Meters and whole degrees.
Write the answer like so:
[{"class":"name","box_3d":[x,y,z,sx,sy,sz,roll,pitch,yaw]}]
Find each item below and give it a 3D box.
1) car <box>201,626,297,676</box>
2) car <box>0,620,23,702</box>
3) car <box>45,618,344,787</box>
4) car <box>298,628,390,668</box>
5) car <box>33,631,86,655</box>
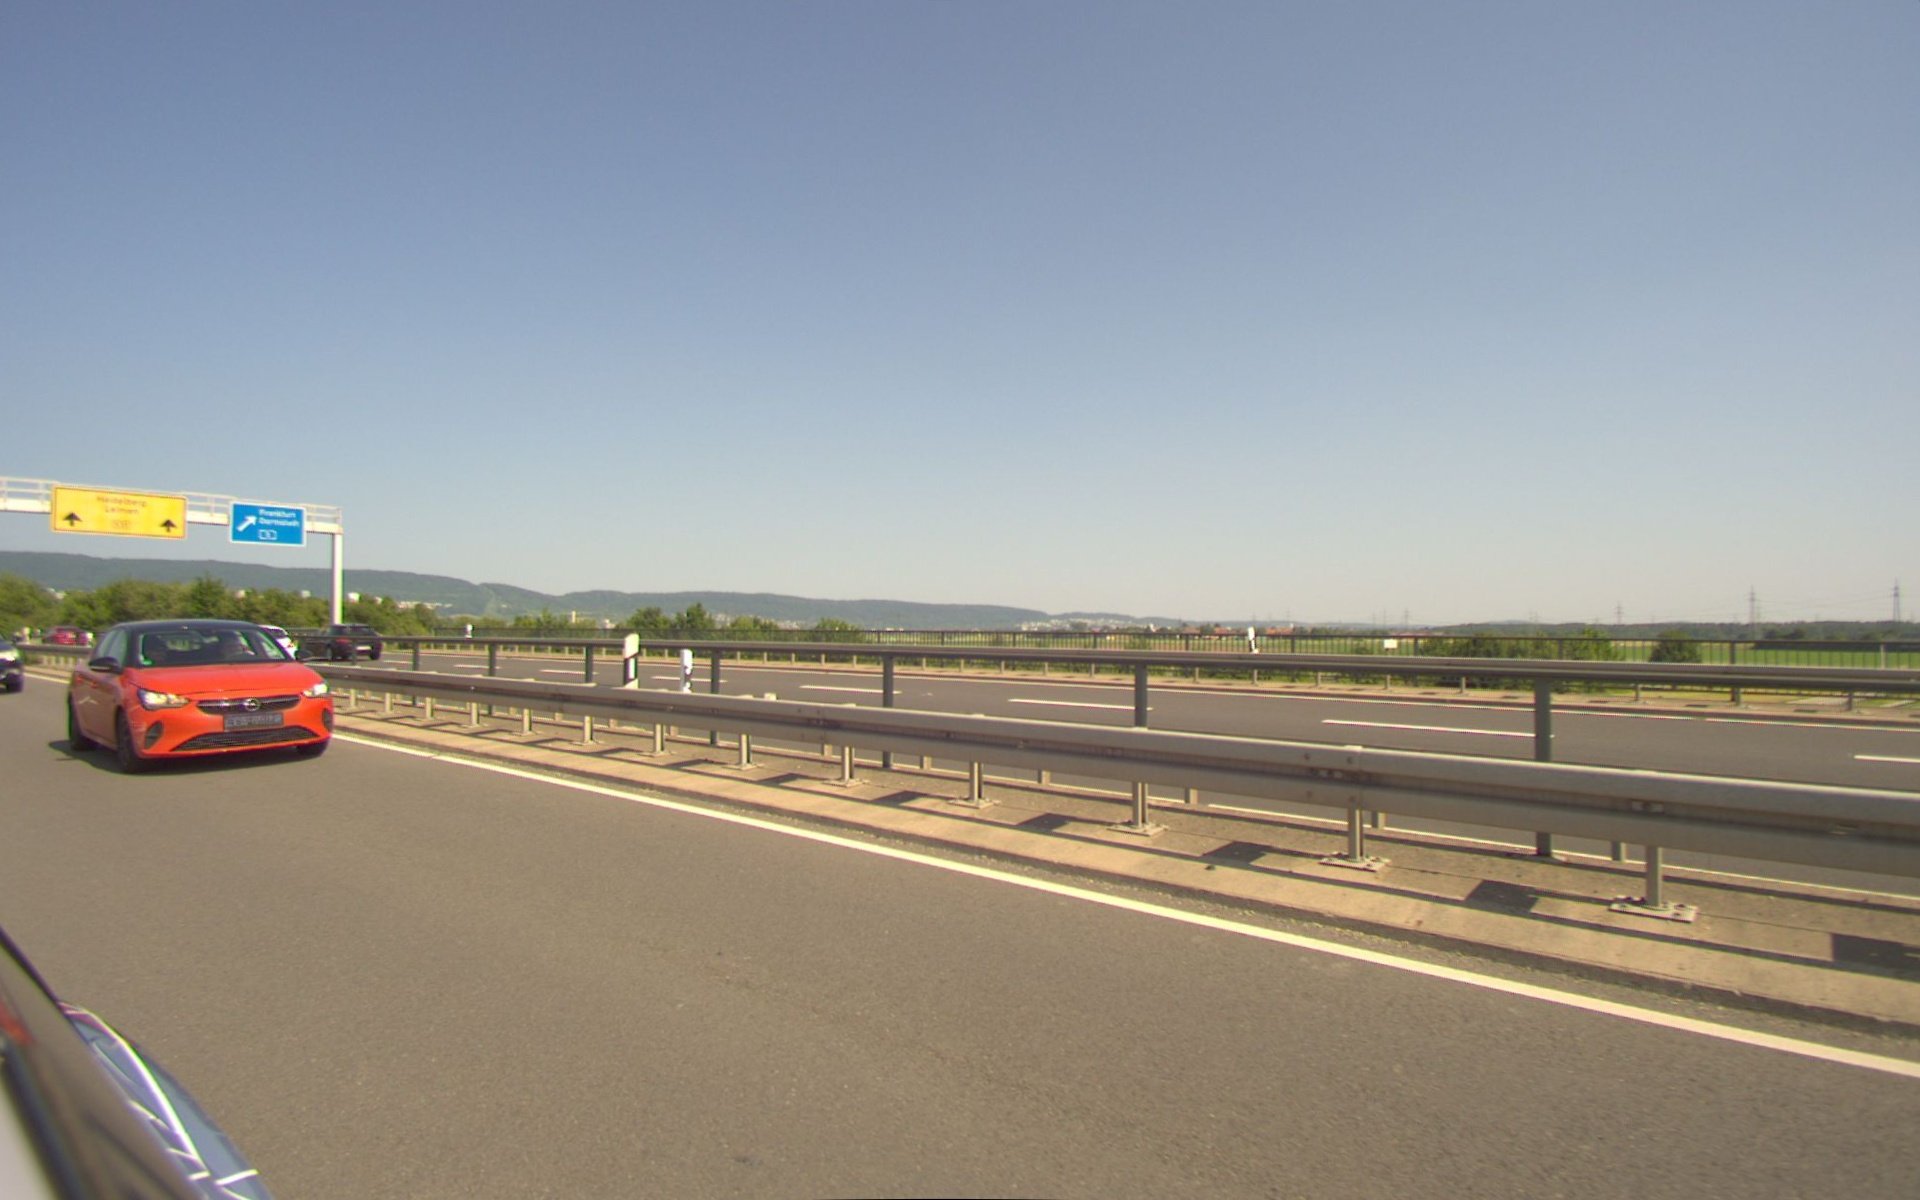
[{"class":"car","box_3d":[-22.248,1.559,31.633,3.665,1.427,1.536,-2,-1,40]},{"class":"car","box_3d":[-20.187,1.201,20.080,4.370,1.545,1.766,-2,-1,39]},{"class":"car","box_3d":[-8.355,0.951,10.888,4.409,1.448,1.691,-2,-2,41]},{"class":"car","box_3d":[-23.867,1.830,39.176,3.994,1.394,1.762,-2,-1,38]},{"class":"car","box_3d":[-58.052,2.734,65.205,4.525,1.439,1.807,-2,-1,38]}]
